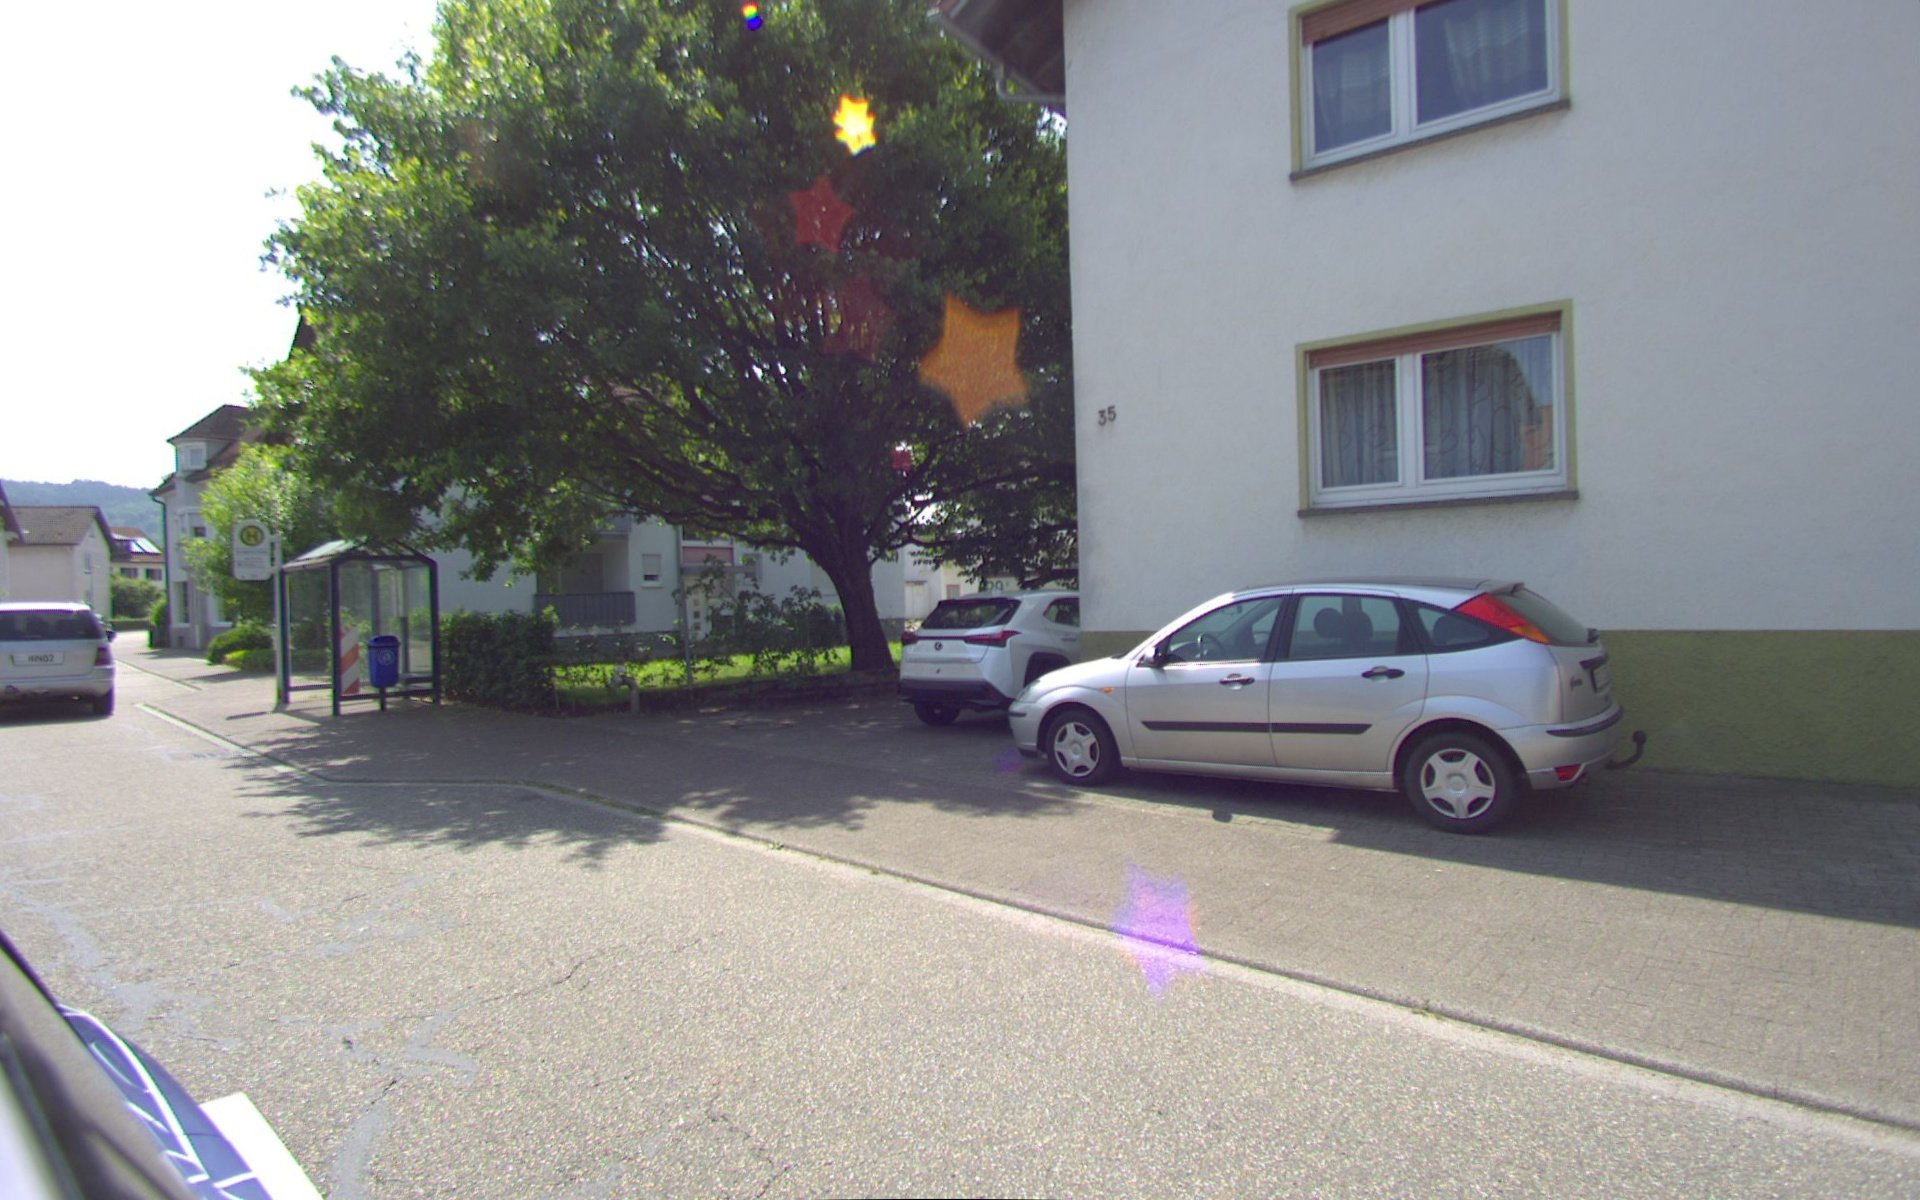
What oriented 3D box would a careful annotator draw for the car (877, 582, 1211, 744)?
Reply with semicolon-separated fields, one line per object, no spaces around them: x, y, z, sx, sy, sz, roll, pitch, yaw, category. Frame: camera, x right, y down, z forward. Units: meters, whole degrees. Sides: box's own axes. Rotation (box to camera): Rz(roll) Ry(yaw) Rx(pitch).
1.135;0.639;11.848;1.773;1.550;4.115;-2;-2;42;car

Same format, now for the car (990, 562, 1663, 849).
2.353;0.562;7.093;4.053;1.445;1.760;-2;0;41;car

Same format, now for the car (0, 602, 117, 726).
-15.027;0.963;16.327;1.863;1.780;4.334;0;-1;-44;car
